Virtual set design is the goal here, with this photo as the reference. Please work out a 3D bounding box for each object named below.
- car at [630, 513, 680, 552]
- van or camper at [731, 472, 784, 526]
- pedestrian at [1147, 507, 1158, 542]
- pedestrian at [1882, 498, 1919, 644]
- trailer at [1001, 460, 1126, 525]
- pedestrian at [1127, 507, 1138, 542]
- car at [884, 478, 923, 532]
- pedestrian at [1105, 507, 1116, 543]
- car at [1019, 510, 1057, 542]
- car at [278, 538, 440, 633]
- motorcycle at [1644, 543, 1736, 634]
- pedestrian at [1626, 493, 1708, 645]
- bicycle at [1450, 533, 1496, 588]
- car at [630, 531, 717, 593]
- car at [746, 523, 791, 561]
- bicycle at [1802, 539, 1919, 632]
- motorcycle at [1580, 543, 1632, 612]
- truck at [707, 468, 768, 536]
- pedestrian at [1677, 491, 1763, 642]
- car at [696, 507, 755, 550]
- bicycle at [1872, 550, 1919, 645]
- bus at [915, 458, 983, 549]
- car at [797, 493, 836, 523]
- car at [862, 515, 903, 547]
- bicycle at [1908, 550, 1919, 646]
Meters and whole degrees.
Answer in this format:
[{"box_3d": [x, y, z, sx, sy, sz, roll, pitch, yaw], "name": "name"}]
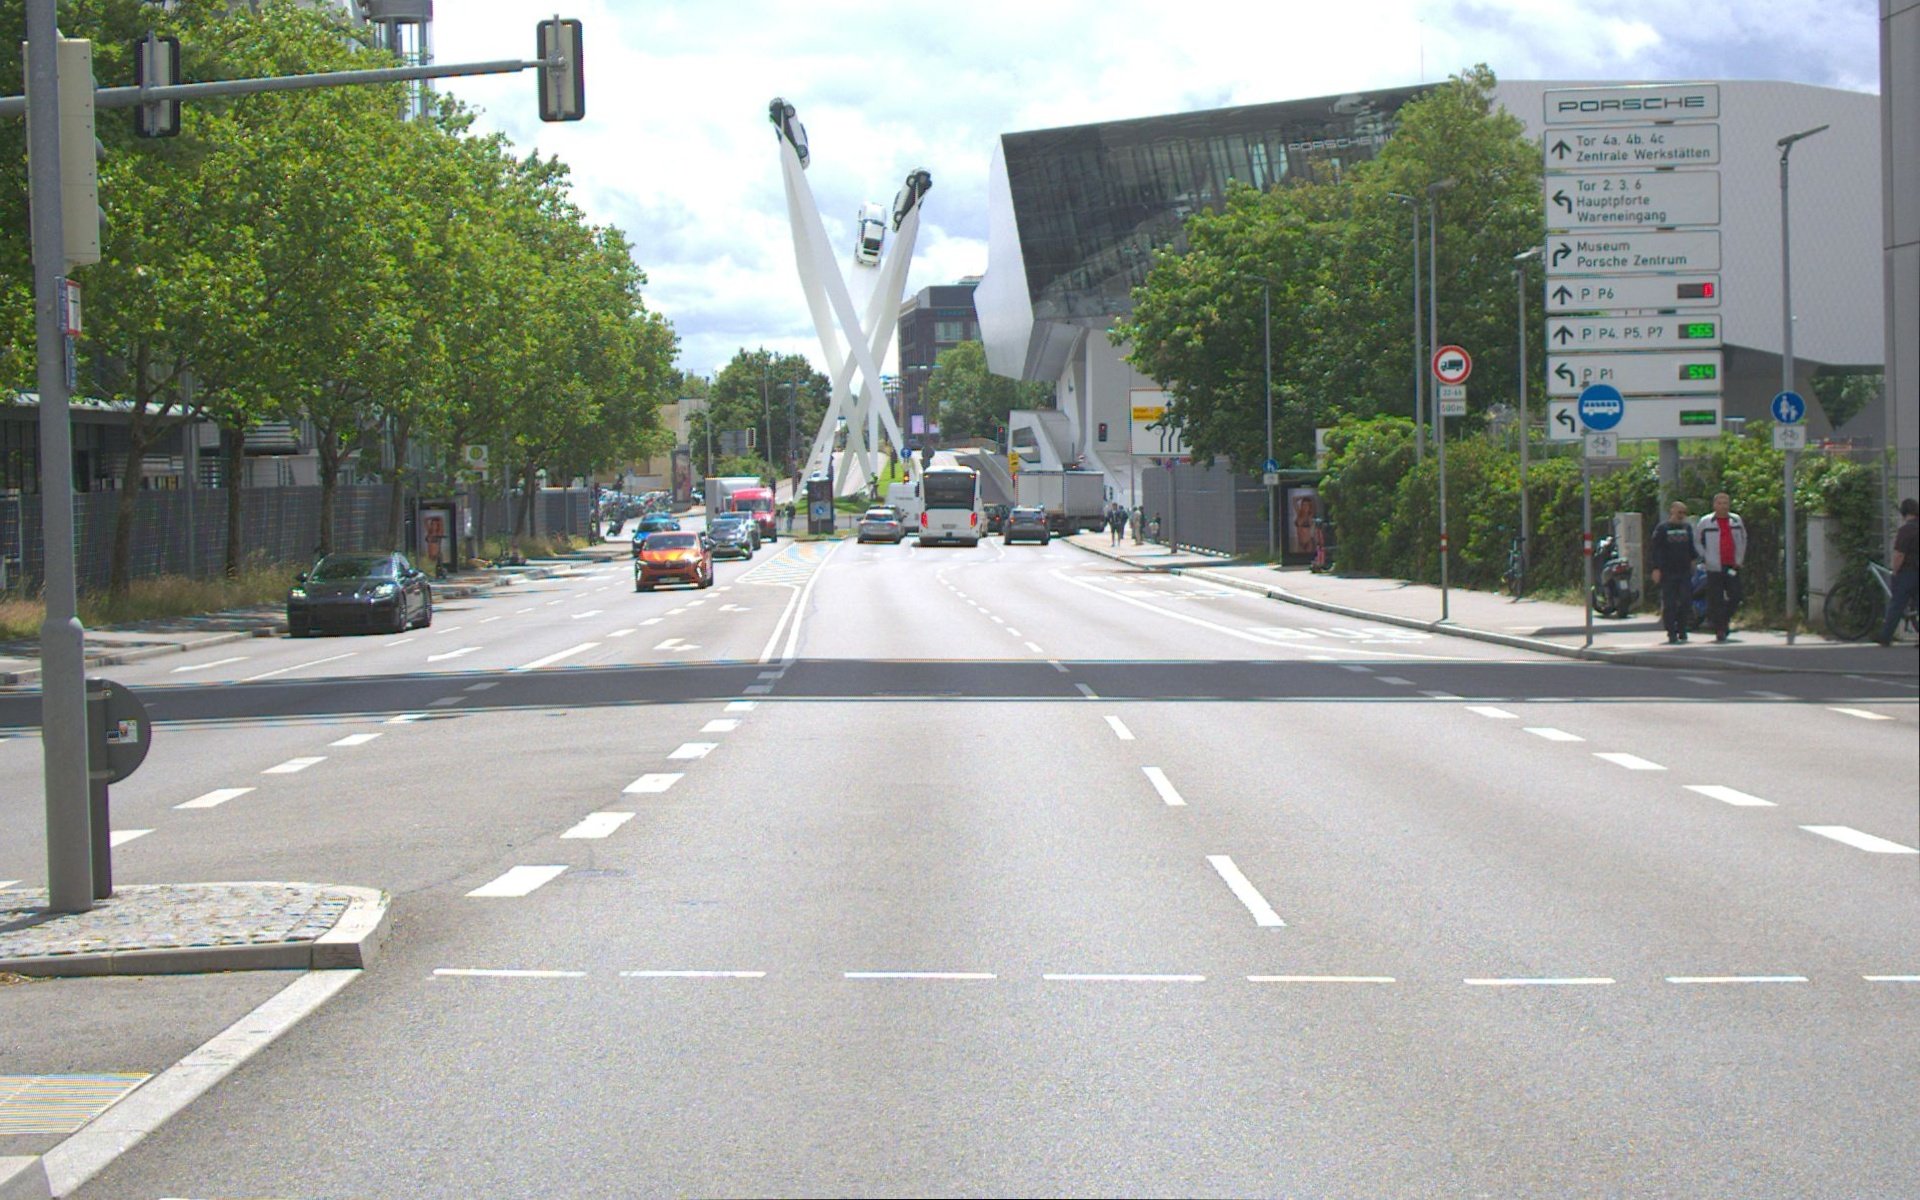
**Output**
[{"box_3d": [-12.361, -2.748, 139.499, 1.797, 1.568, 4.001, 0, 1, -2], "name": "car"}, {"box_3d": [-9.267, -4.618, 157.589, 2.047, 2.458, 5.595, 0, 1, 0], "name": "van or camper"}, {"box_3d": [7.756, -3.029, 138.543, 0.386, 1.416, 0.423, 1, 0, 0], "name": "pedestrian"}, {"box_3d": [10.831, -0.325, 38.741, 0.658, 1.635, 0.533, 1, 1, 44], "name": "pedestrian"}, {"box_3d": [5.248, -5.354, 172.158, 3.322, 2.984, 10.366, 1, 1, 19], "name": "trailer"}, {"box_3d": [6.883, -3.012, 137.146, 0.386, 1.416, 0.423, 1, 0, 0], "name": "pedestrian"}, {"box_3d": [-2.820, -4.715, 171.164, 1.843, 2.614, 4.000, 1, 1, -2], "name": "car"}, {"box_3d": [6.027, -3.014, 137.836, 0.386, 1.416, 0.423, 1, 0, 0], "name": "pedestrian"}, {"box_3d": [3.300, -3.140, 146.291, 1.557, 1.269, 3.701, -3, 1, 1], "name": "car"}, {"box_3d": [-10.469, -0.282, 60.170, 1.917, 1.483, 4.772, -3, 1, 0], "name": "car"}, {"box_3d": [9.543, -0.165, 45.019, 0.418, 1.162, 1.957, 1, 1, -11], "name": "motorcycle"}, {"box_3d": [8.578, -0.380, 41.735, 0.641, 1.787, 0.712, -3, 1, -16], "name": "pedestrian"}, {"box_3d": [9.737, -0.744, 65.260, 0.418, 1.019, 1.913, 1, 1, -5], "name": "bicycle"}, {"box_3d": [-7.034, -0.955, 84.764, 1.769, 1.415, 3.701, -3, 1, 0], "name": "car"}, {"box_3d": [-7.750, -2.372, 139.369, 1.557, 1.443, 3.773, -3, 1, 0], "name": "car"}, {"box_3d": [11.167, -0.174, 40.865, 2.222, 1.083, 0.476, 1, 1, 35], "name": "bicycle"}, {"box_3d": [9.763, -0.345, 52.002, 0.457, 1.019, 1.912, 1, 1, 1], "name": "motorcycle"}, {"box_3d": [-11.339, -4.958, 175.862, 2.591, 3.312, 7.079, 1, 1, 0], "name": "truck"}, {"box_3d": [9.246, -0.415, 41.858, 0.691, 1.787, 0.712, -3, 1, -16], "name": "pedestrian"}, {"box_3d": [-8.229, -2.518, 120.804, 1.769, 1.415, 3.701, -3, 1, 0], "name": "car"}, {"box_3d": [11.658, -0.017, 39.535, 2.222, 1.083, 0.476, 1, 1, 35], "name": "bicycle"}, {"box_3d": [-0.449, -4.043, 145.780, 2.787, 3.673, 6.943, 1, 1, 0], "name": "bus"}, {"box_3d": [-6.504, -4.147, 155.734, 1.557, 1.269, 3.701, -3, 1, 0], "name": "car"}, {"box_3d": [-3.342, -2.994, 148.530, 1.557, 1.269, 3.701, -3, 1, 1], "name": "car"}, {"box_3d": [11.851, -0.007, 38.769, 2.191, 1.083, 0.476, 1, 1, 35], "name": "bicycle"}]
